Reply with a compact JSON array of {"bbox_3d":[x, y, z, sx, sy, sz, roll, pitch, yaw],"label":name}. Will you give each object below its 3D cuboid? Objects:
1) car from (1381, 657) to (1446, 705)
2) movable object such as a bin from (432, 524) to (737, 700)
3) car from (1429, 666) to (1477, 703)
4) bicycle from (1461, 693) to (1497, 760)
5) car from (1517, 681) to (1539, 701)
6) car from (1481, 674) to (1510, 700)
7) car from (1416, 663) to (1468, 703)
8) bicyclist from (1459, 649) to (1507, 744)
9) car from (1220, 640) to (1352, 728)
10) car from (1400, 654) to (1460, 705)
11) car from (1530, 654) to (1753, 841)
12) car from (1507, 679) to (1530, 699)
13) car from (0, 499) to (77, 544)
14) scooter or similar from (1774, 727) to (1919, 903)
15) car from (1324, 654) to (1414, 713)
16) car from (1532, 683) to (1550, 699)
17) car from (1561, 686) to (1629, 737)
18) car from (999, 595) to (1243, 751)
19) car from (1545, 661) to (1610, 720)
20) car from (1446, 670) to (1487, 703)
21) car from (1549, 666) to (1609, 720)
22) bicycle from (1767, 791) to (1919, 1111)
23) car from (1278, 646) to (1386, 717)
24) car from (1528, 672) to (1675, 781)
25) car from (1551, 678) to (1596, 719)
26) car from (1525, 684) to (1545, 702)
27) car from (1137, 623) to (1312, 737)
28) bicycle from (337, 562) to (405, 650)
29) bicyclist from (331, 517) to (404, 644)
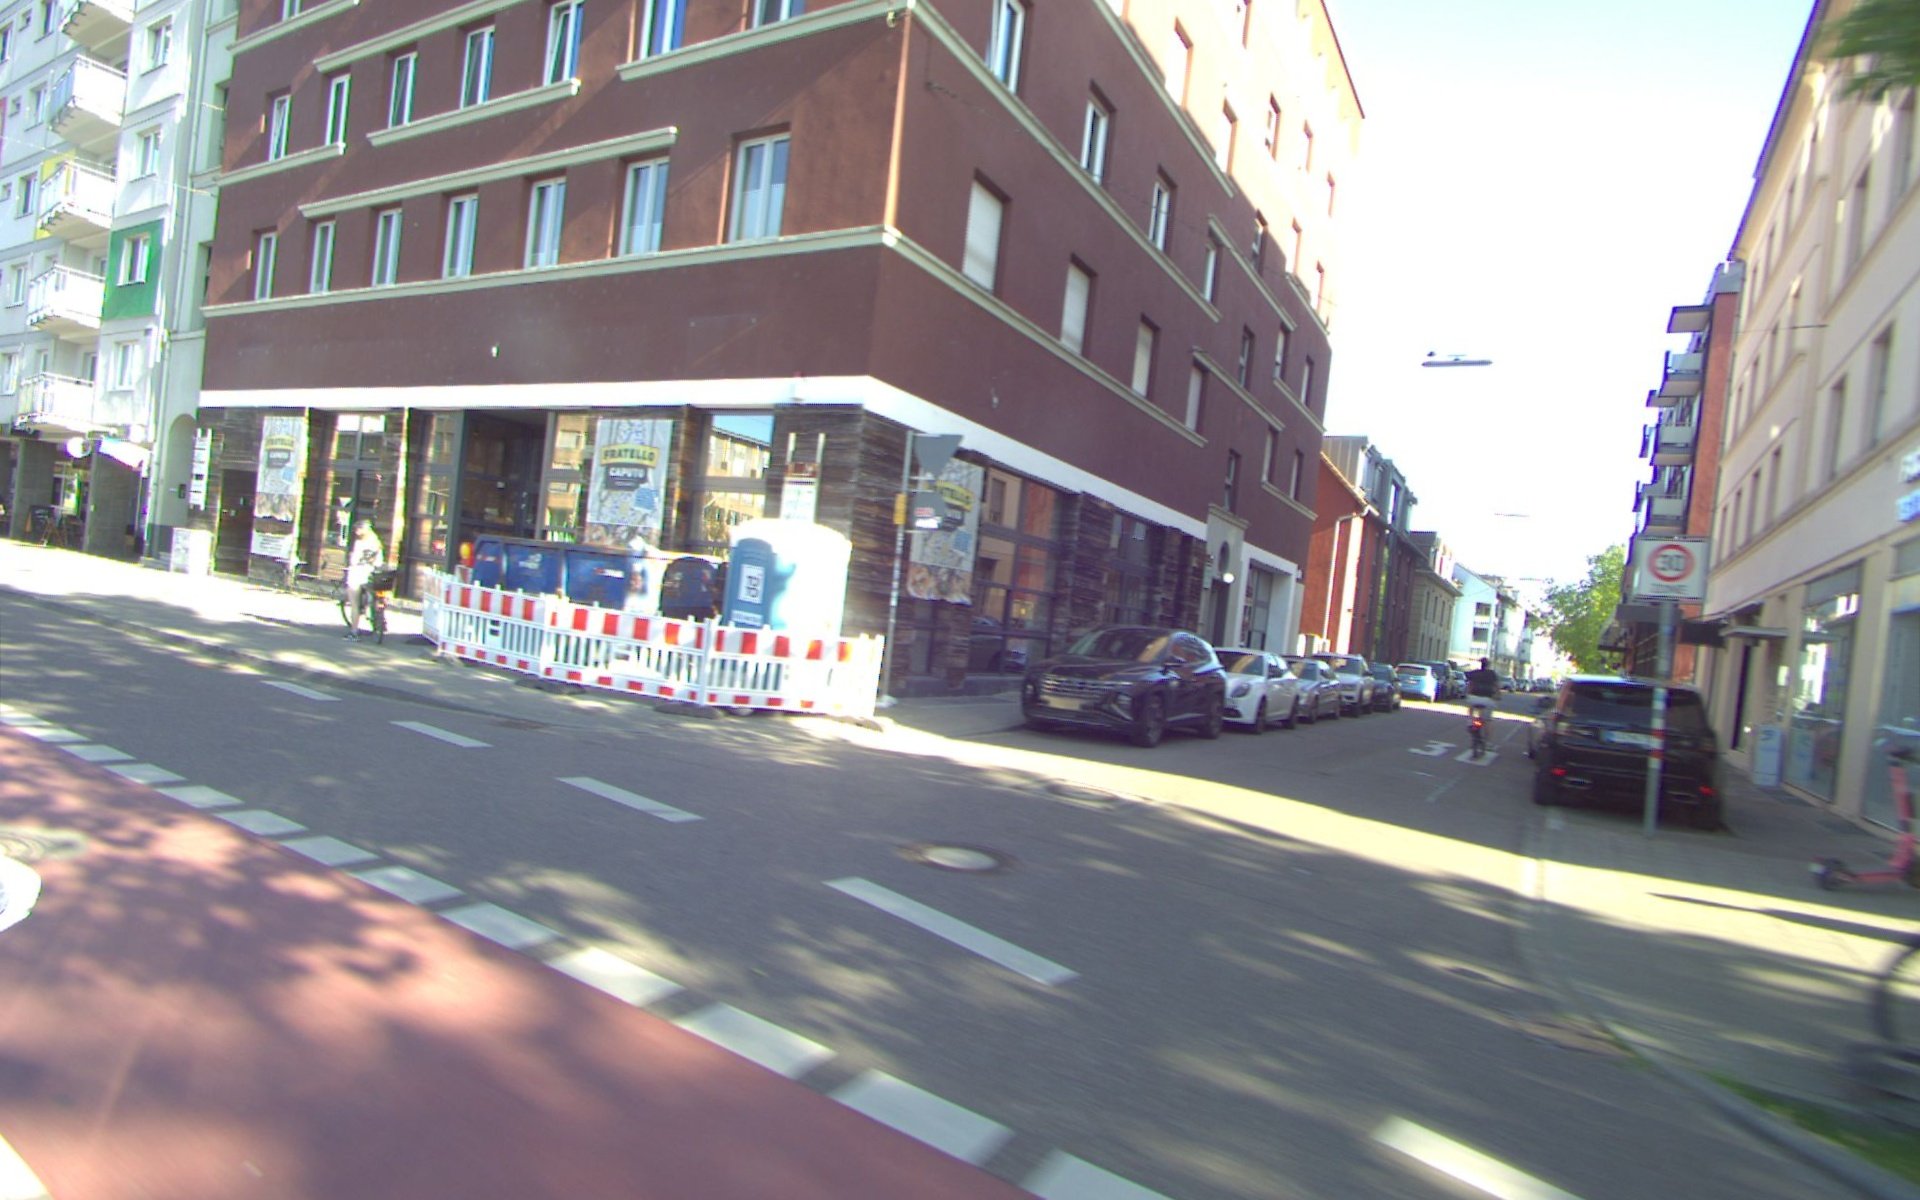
[{"bbox_3d":[19.243,3.459,42.617,1.967,1.669,3.996,6,-2,31],"label":"car"},{"bbox_3d":[-5.135,0.146,13.813,3.418,1.866,1.950,8,1,26],"label":"movable object such as a bin"},{"bbox_3d":[27.888,4.801,56.815,1.967,1.725,3.996,6,-2,31],"label":"car"},{"bbox_3d":[9.837,2.373,19.037,0.415,1.150,1.827,7,-1,30],"label":"bicycle"},{"bbox_3d":[65.129,10.454,115.390,1.967,2.036,3.996,6,-2,31],"label":"car"},{"bbox_3d":[49.438,8.063,92.841,1.967,1.986,3.996,6,-2,31],"label":"car"},{"bbox_3d":[25.154,4.371,52.475,1.967,1.700,3.996,6,-2,31],"label":"car"},{"bbox_3d":[9.858,1.811,18.958,0.607,1.687,0.666,7,0,30],"label":"bicyclist"},{"bbox_3d":[7.734,2.010,23.586,1.967,1.669,3.996,6,-2,31],"label":"car"},{"bbox_3d":[21.880,3.731,46.739,1.967,1.992,3.996,6,-2,31],"label":"car"},{"bbox_3d":[8.952,1.820,13.547,1.967,1.838,4.530,6,-1,31],"label":"car"},{"bbox_3d":[59.784,9.547,107.665,1.967,1.819,3.925,6,-2,31],"label":"car"},{"bbox_3d":[-54.004,-4.609,57.845,1.940,2.036,4.369,6,-2,33],"label":"car"},{"bbox_3d":[7.660,1.811,8.460,1.184,1.300,0.382,7,-1,1],"label":"scooter or similar"},{"bbox_3d":[13.110,2.656,32.082,1.967,1.504,3.993,7,-1,31],"label":"car"},{"bbox_3d":[79.389,12.501,137.453,1.967,1.819,3.996,6,-2,31],"label":"car"},{"bbox_3d":[21.567,3.805,34.182,1.731,1.391,3.994,6,-3,33],"label":"car"},{"bbox_3d":[2.533,1.080,14.779,1.962,1.809,4.306,5,-2,31],"label":"car"},{"bbox_3d":[24.877,3.680,40.527,1.967,2.036,3.994,6,-2,32],"label":"car"},{"bbox_3d":[32.924,5.620,65.375,1.967,1.787,3.996,6,-2,31],"label":"car"},{"bbox_3d":[27.116,4.103,44.062,1.968,2.036,3.994,6,-2,33],"label":"car"},{"bbox_3d":[4.712,1.561,3.978,2.197,1.176,0.582,6,-1,24],"label":"bicycle"},{"bbox_3d":[10.365,2.260,27.856,1.967,1.593,3.993,7,-1,31],"label":"car"},{"bbox_3d":[11.860,2.321,18.819,1.967,1.547,3.996,6,-3,31],"label":"car"},{"bbox_3d":[35.450,5.676,58.233,1.967,2.038,3.993,6,-1,31],"label":"car"},{"bbox_3d":[73.560,11.943,128.647,1.967,1.928,3.996,6,-2,31],"label":"car"},{"bbox_3d":[5.066,1.508,18.849,1.967,1.678,4.119,7,-1,31],"label":"car"},{"bbox_3d":[-8.432,0.063,14.380,1.662,1.099,0.316,7,1,44],"label":"bicycle"},{"bbox_3d":[-8.392,-0.272,14.247,0.589,1.711,0.600,7,1,42],"label":"bicyclist"}]
